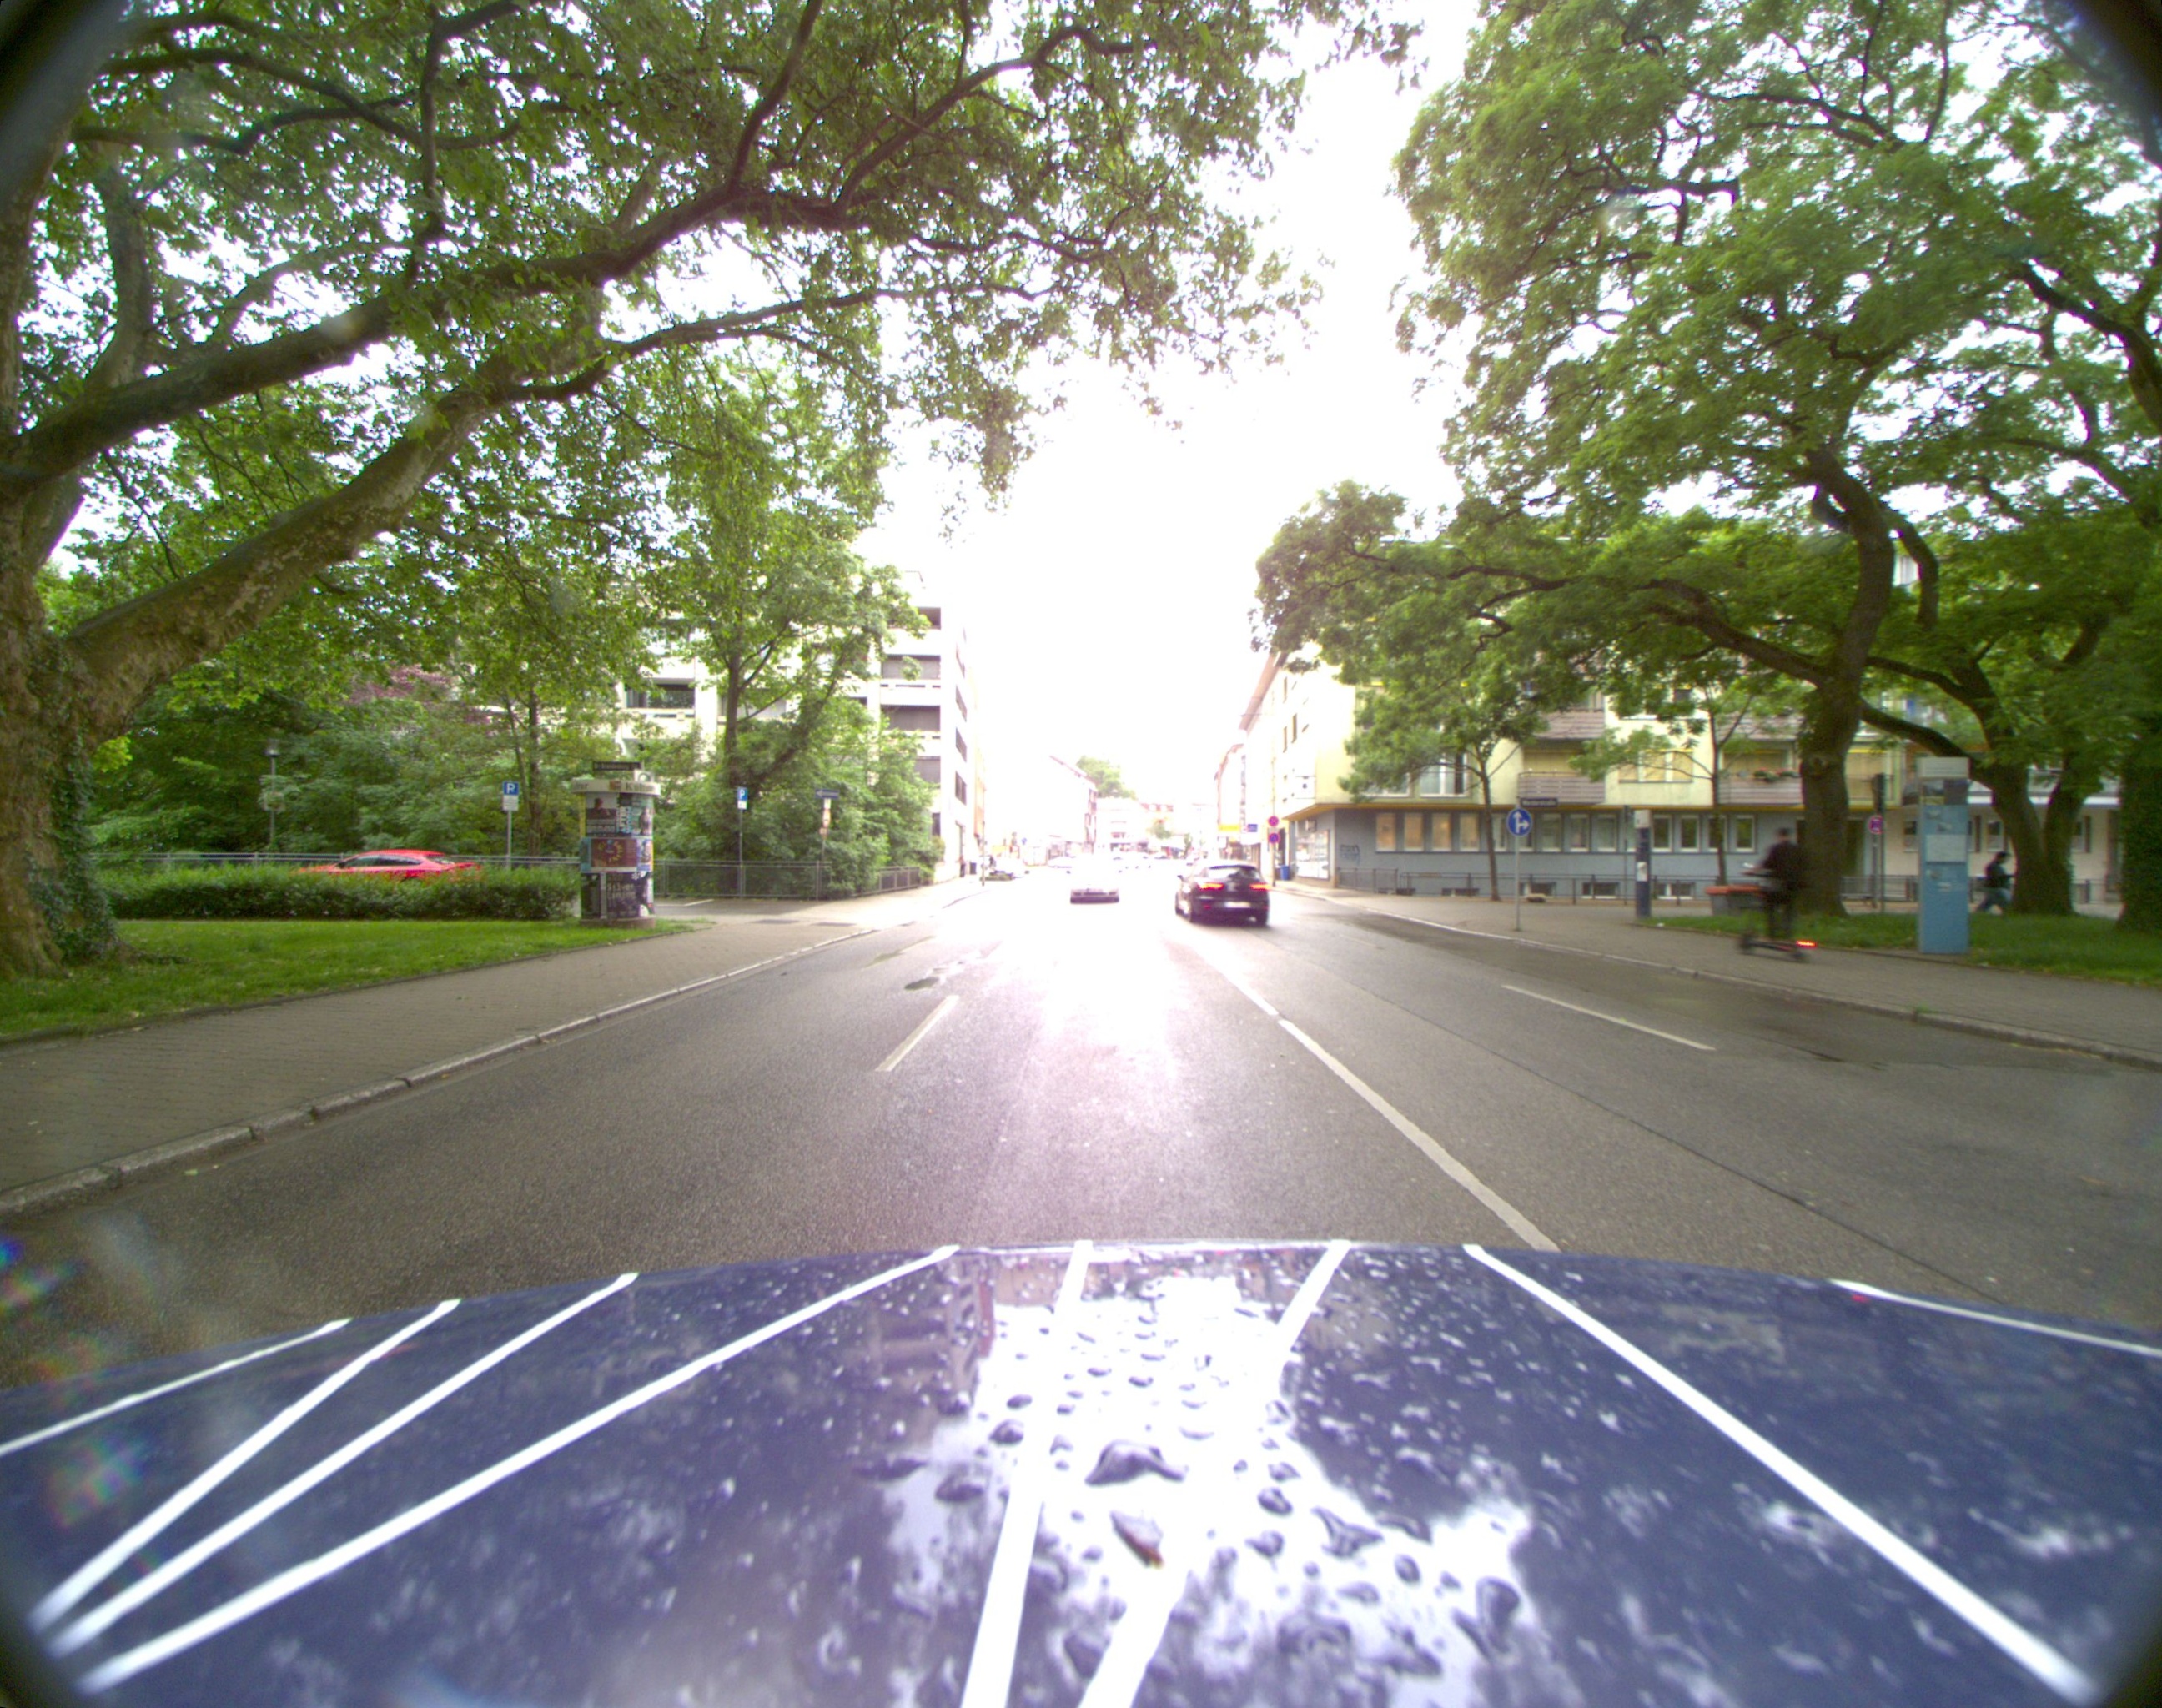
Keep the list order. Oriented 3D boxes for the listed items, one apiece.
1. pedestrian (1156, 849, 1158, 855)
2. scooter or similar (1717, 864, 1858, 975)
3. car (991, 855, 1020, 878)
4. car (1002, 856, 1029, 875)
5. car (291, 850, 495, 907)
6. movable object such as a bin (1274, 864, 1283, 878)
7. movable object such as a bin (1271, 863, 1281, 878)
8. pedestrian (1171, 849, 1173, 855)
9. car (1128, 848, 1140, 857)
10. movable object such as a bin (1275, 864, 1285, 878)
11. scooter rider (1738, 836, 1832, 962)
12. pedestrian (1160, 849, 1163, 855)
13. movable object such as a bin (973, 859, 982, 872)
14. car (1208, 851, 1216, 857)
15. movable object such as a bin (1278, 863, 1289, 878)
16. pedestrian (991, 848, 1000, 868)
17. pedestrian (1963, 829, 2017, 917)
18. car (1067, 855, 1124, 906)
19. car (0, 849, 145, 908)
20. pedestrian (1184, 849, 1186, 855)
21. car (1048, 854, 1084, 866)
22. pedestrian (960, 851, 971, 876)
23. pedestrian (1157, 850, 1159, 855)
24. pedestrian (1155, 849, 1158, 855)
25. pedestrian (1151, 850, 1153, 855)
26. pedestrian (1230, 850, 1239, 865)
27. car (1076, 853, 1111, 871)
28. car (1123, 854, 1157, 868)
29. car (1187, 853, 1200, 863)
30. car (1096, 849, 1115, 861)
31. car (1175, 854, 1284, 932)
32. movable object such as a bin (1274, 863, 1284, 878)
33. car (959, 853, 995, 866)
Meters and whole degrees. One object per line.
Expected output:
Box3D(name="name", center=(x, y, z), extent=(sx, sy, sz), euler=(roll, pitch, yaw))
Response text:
Box3D(name="pedestrian", center=(18.392, -0.466, 183.121), extent=(0.379, 1.283, 0.401), euler=(1, 1, 38))
Box3D(name="scooter or similar", center=(10.087, 0.888, 10.929), extent=(0.816, 1.437, 1.399), euler=(0, 1, 8))
Box3D(name="car", center=(-5.311, 0.866, 53.639), extent=(1.706, 1.549, 3.804), euler=(1, 0, -1))
Box3D(name="car", center=(-5.139, 0.883, 60.348), extent=(1.835, 1.412, 4.569), euler=(1, 0, -1))
Box3D(name="car", center=(-19.551, 0.671, 21.757), extent=(3.999, 1.473, 1.875), euler=(1, 1, -5))
Box3D(name="movable object such as a bin", center=(12.949, 1.105, 49.938), extent=(0.465, 0.922, 0.428), euler=(-4, 0, 8))
Box3D(name="movable object such as a bin", center=(13.017, 1.093, 50.637), extent=(0.517, 0.994, 0.524), euler=(-4, 0, 8))
Box3D(name="pedestrian", center=(21.163, -0.522, 176.306), extent=(0.399, 1.283, 0.380), euler=(0, 1, 10))
Box3D(name="car", center=(10.844, -0.382, 156.166), extent=(2.043, 1.754, 4.573), euler=(1, 0, 9))
Box3D(name="movable object such as a bin", center=(12.774, 1.093, 48.820), extent=(0.529, 0.890, 0.435), euler=(-4, 0, 8))
Box3D(name="scooter rider", center=(10.101, 0.616, 10.932), extent=(0.734, 1.756, 0.646), euler=(0, 2, 10))
Box3D(name="pedestrian", center=(18.908, -0.449, 178.720), extent=(0.379, 1.283, 0.401), euler=(1, 1, 39))
Box3D(name="movable object such as a bin", center=(-8.588, 0.940, 62.830), extent=(0.681, 1.097, 0.514), euler=(0, 1, -1))
Box3D(name="car", center=(33.370, -0.047, 193.469), extent=(1.591, 1.518, 3.491), euler=(0, 0, 14))
Box3D(name="movable object such as a bin", center=(12.864, 1.051, 48.303), extent=(0.529, 0.955, 0.435), euler=(-4, 0, 8))
Box3D(name="pedestrian", center=(-9.388, 0.462, 83.021), extent=(0.806, 2.140, 0.737), euler=(0, 1, -23))
Box3D(name="pedestrian", center=(21.399, 0.434, 17.900), extent=(0.754, 2.002, 0.780), euler=(0, 1, -40))
Box3D(name="car", center=(0.487, 0.857, 26.180), extent=(1.756, 1.559, 4.000), euler=(-2, 0, 1))
Box3D(name="car", center=(-29.530, 0.664, 21.408), extent=(3.932, 1.561, 1.735), euler=(1, 0, -4))
Box3D(name="pedestrian", center=(23.725, -0.485, 173.864), extent=(0.400, 1.283, 0.380), euler=(0, 1, 1))
Box3D(name="car", center=(-1.867, 0.736, 93.630), extent=(4.465, 1.377, 1.475), euler=(0, 0, -3))
Box3D(name="pedestrian", center=(-7.982, 0.640, 52.569), extent=(0.599, 1.650, 0.691), euler=(3, 0, -7))
Box3D(name="pedestrian", center=(18.064, -0.405, 178.931), extent=(0.379, 1.283, 0.401), euler=(1, 1, 40))
Box3D(name="pedestrian", center=(18.445, -0.491, 185.573), extent=(0.379, 1.283, 0.401), euler=(1, 1, 39))
Box3D(name="pedestrian", center=(16.808, -0.373, 180.243), extent=(0.379, 1.283, 0.401), euler=(1, 1, 39))
Box3D(name="pedestrian", center=(16.763, 0.403, 82.934), extent=(0.785, 1.578, 0.674), euler=(-2, 0, 21))
Box3D(name="car", center=(1.083, 0.721, 69.306), extent=(1.803, 1.575, 4.153), euler=(1, 0, -20))
Box3D(name="car", center=(7.513, 0.910, 96.785), extent=(1.753, 1.559, 4.701), euler=(-2, 0, 43))
Box3D(name="car", center=(17.974, 0.663, 121.383), extent=(1.834, 1.612, 4.003), euler=(0, 0, 10))
Box3D(name="car", center=(3.658, 0.160, 112.633), extent=(2.015, 1.754, 4.767), euler=(1, 0, 12))
Box3D(name="car", center=(3.376, 0.826, 18.085), extent=(1.850, 1.616, 4.138), euler=(1, 0, 1))
Box3D(name="movable object such as a bin", center=(12.842, 1.081, 49.341), extent=(0.529, 0.922, 0.426), euler=(-4, 0, 8))
Box3D(name="car", center=(-12.741, 0.686, 93.606), extent=(4.157, 1.576, 1.801), euler=(1, 0, -1))
